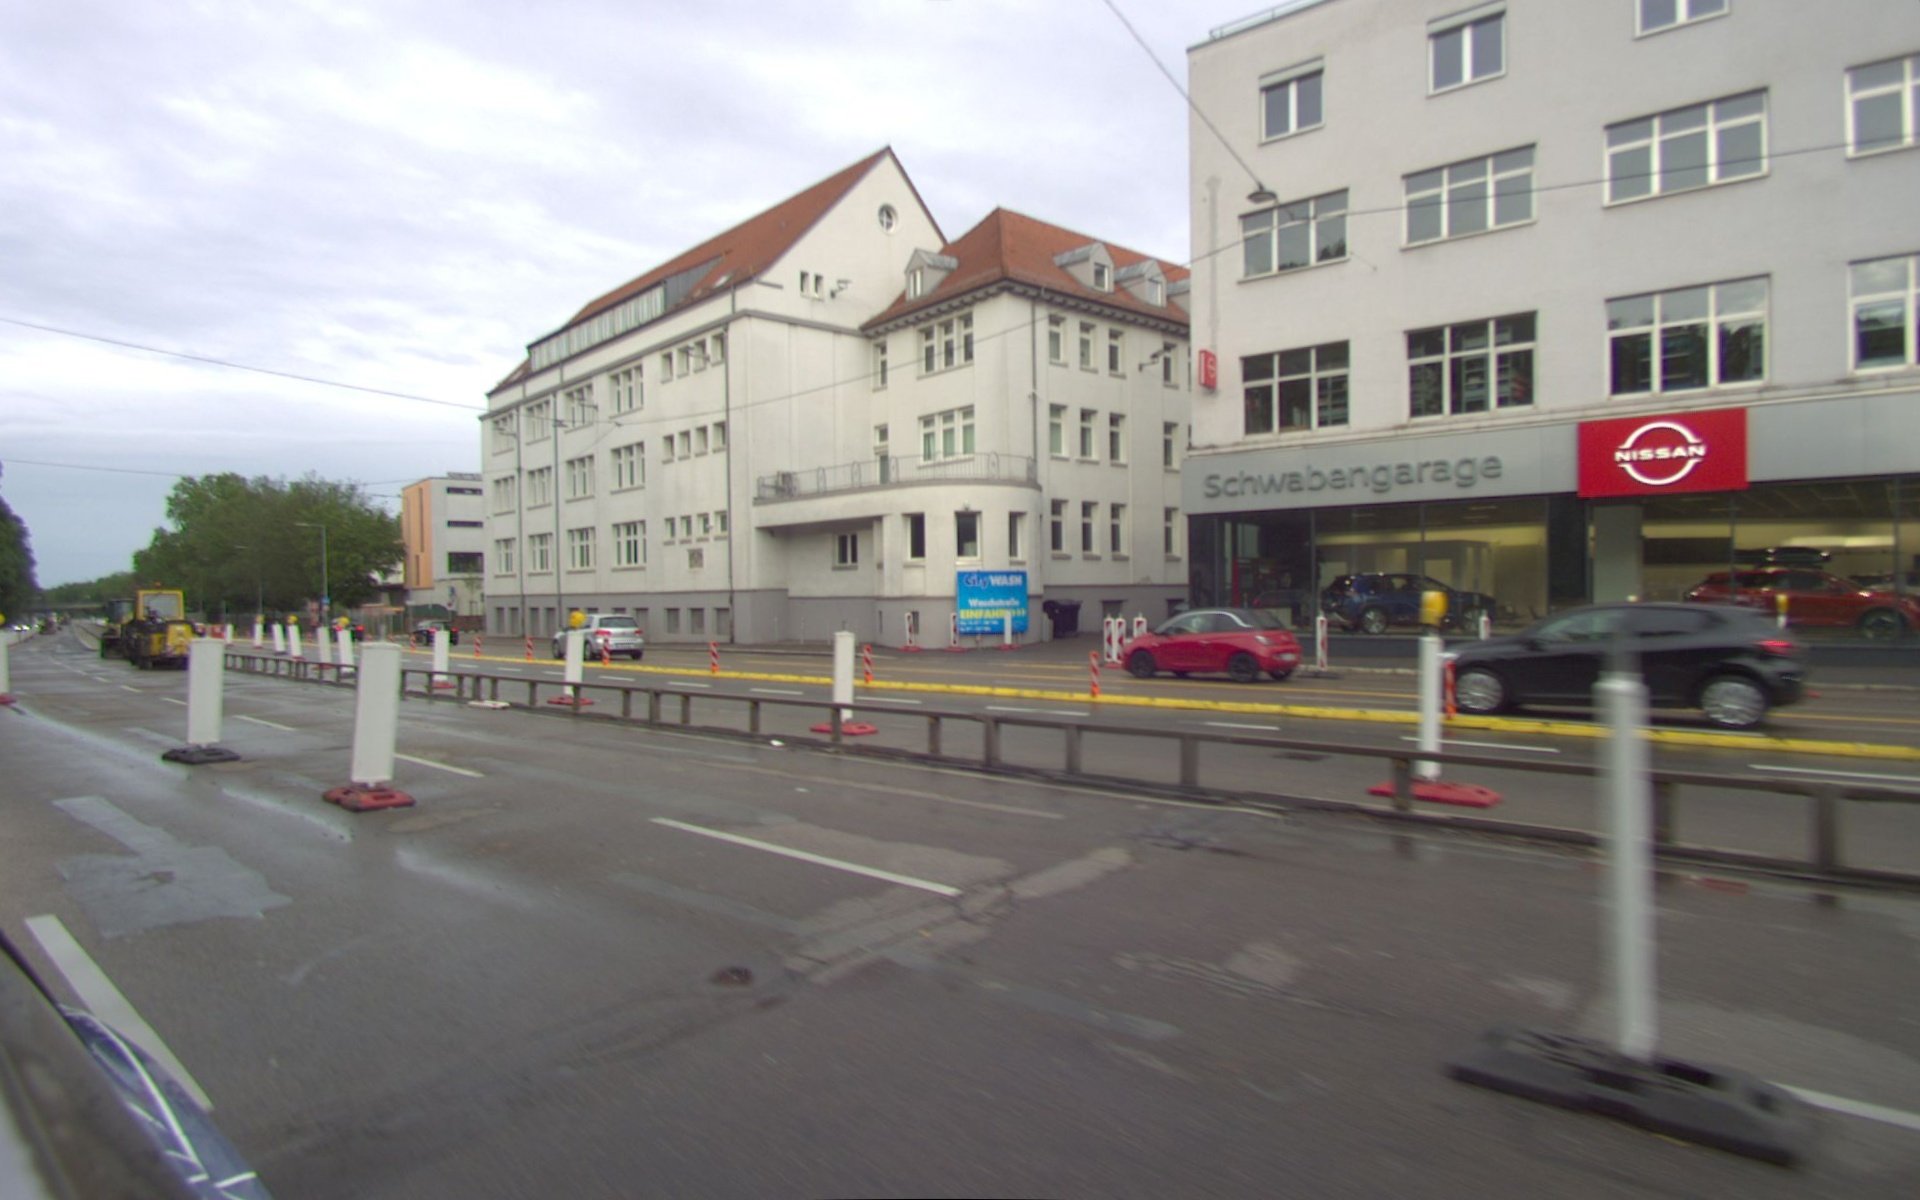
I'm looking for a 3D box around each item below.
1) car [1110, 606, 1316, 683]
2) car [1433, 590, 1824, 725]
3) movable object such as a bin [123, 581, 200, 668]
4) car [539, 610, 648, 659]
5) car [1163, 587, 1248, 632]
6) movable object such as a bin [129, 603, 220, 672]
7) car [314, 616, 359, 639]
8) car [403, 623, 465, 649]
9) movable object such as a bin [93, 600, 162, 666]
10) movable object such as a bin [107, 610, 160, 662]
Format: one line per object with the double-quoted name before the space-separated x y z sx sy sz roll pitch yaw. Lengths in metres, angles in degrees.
"car" 5.090 0.840 20.620 3.708 1.425 1.715 0 -1 43
"car" 8.084 0.603 12.408 3.803 1.397 1.779 0 -1 41
"movable object such as a bin" -28.688 0.889 36.335 1.801 2.934 3.609 1 -2 -44
"car" -11.744 1.095 32.325 1.681 1.475 4.120 2 -3 -45
"car" 10.721 0.402 43.991 3.905 1.844 1.791 0 -1 -44
"movable object such as a bin" -25.881 1.211 33.299 1.970 2.128 3.852 0 -1 -44
"car" -45.045 1.953 73.086 1.970 1.597 4.214 0 -1 -43
"car" -29.524 1.975 56.773 3.999 1.392 1.837 -1 -2 42
"movable object such as a bin" -38.372 1.479 46.625 2.097 2.860 4.482 0 -1 -44
"movable object such as a bin" -34.889 1.507 42.694 1.380 2.060 4.089 0 -2 -44
